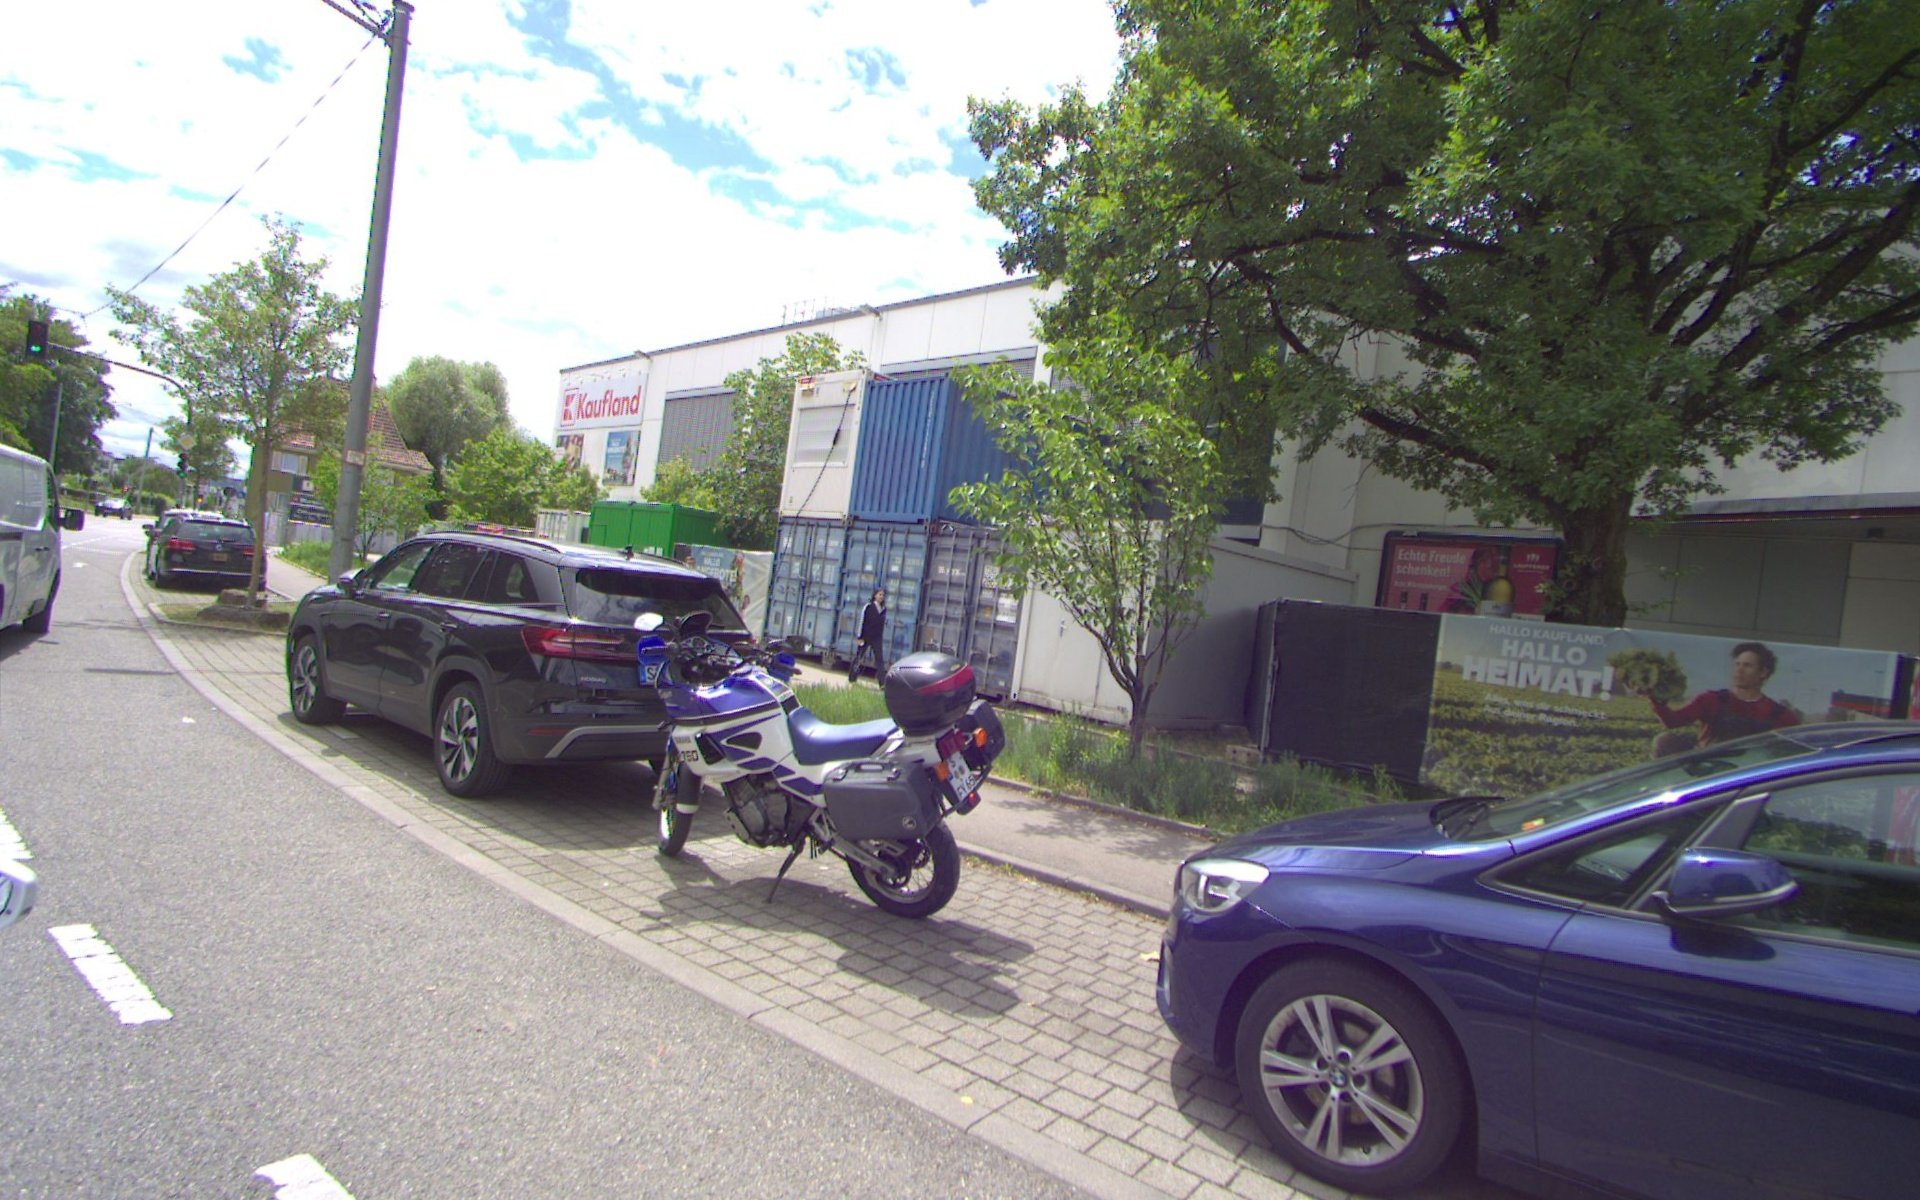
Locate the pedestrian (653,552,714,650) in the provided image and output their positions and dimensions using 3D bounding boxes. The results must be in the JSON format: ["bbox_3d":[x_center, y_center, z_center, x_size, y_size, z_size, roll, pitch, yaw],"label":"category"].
[{"bbox_3d":[-5.157,0.020,18.746,0.648,1.717,0.716,7,0,-43],"label":"pedestrian"}]

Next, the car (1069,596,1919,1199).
[{"bbox_3d":[2.743,1.041,2.857,4.362,1.598,1.915,7,1,37],"label":"car"}]

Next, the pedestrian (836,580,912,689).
[{"bbox_3d":[-1.398,0.553,16.322,0.740,1.637,0.758,7,0,-43],"label":"pedestrian"}]

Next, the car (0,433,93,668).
[{"bbox_3d":[-9.735,-0.606,9.273,1.929,1.983,4.787,10,-2,-35],"label":"car"}]

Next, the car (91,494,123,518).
[{"bbox_3d":[-69.948,-7.741,82.558,1.825,1.637,4.106,6,1,-39],"label":"car"}]

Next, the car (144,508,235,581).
[{"bbox_3d":[-19.081,-1.410,24.854,1.561,1.512,3.956,6,0,-40],"label":"car"}]

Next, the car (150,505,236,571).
[{"bbox_3d":[-22.396,-1.843,29.312,1.728,1.637,4.337,4,1,-40],"label":"car"}]

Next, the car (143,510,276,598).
[{"bbox_3d":[-15.832,-1.020,21.114,1.757,1.496,4.877,4,2,-42],"label":"car"}]

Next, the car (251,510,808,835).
[{"bbox_3d":[-3.537,0.325,7.736,4.776,1.642,1.876,7,1,40],"label":"car"}]

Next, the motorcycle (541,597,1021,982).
[{"bbox_3d":[-0.965,0.770,5.044,2.226,1.323,1.070,7,2,38],"label":"motorcycle"}]

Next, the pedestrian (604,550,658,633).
[{"bbox_3d":[-7.243,-0.185,22.120,0.650,1.718,0.834,7,0,-43],"label":"pedestrian"}]
